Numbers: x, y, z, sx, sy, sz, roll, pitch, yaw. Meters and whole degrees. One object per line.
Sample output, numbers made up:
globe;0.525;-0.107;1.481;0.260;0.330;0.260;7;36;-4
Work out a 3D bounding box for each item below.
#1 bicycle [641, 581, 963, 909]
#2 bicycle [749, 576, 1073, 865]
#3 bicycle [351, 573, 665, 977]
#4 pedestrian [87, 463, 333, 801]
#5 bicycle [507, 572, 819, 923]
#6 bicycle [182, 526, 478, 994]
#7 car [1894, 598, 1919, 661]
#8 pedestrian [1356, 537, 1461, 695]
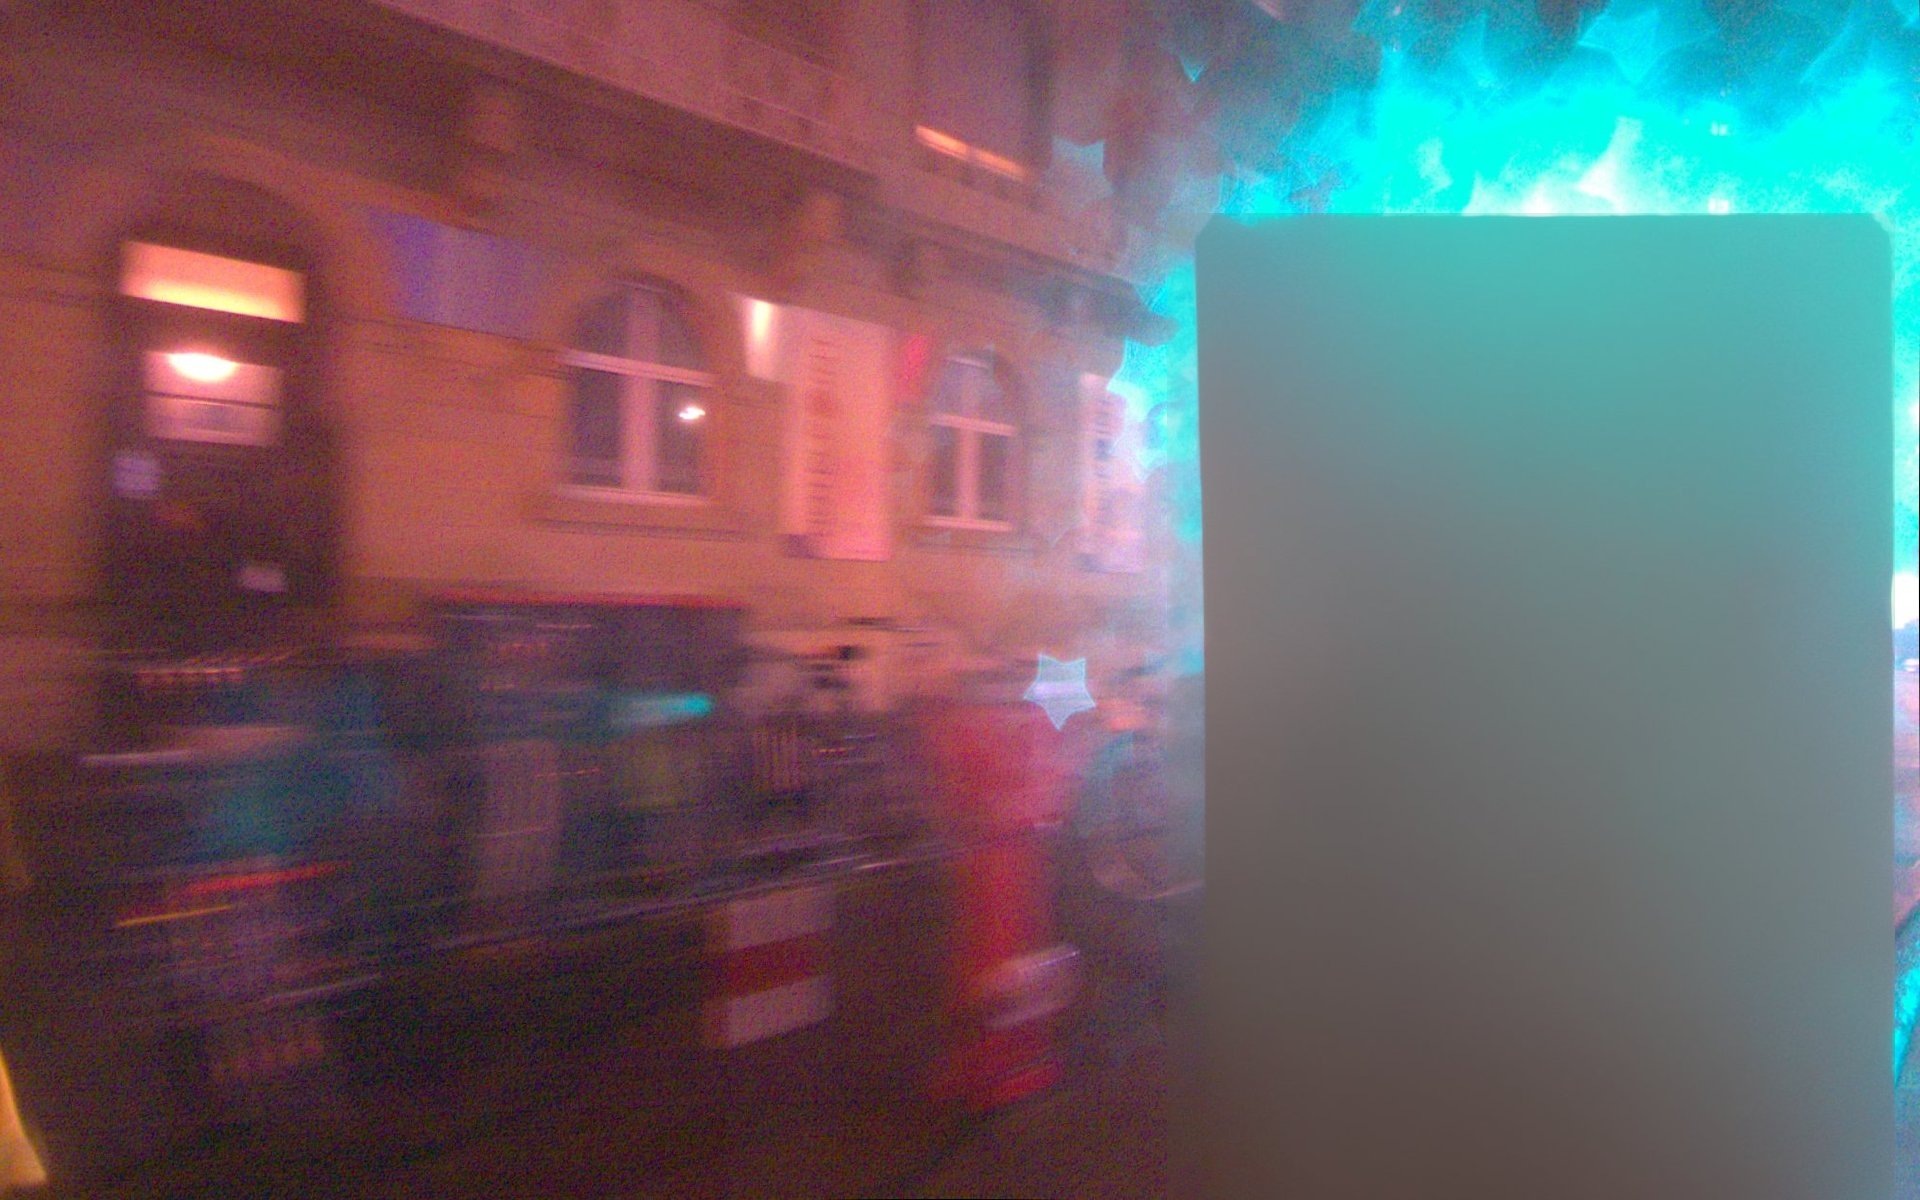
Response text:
bicycle;-0.869;0.583;5.040;0.586;1.267;1.899;0;3;-43
bicycle;-0.346;0.544;5.612;0.699;1.267;1.899;0;3;-43
bicycle;-1.962;0.558;4.218;0.586;1.267;1.899;0;3;-43
pedestrian;-4.067;0.143;5.516;0.982;1.637;0.783;1;2;-39
bicycle;-1.469;0.544;4.736;0.586;1.267;1.899;0;3;-43
bicycle;-2.484;0.423;3.870;0.586;1.376;1.899;0;3;-43
car;24.178;0.742;24.035;1.694;1.562;3.956;1;1;24
pedestrian;6.093;0.204;13.748;0.961;2.039;1.013;2;0;-45
